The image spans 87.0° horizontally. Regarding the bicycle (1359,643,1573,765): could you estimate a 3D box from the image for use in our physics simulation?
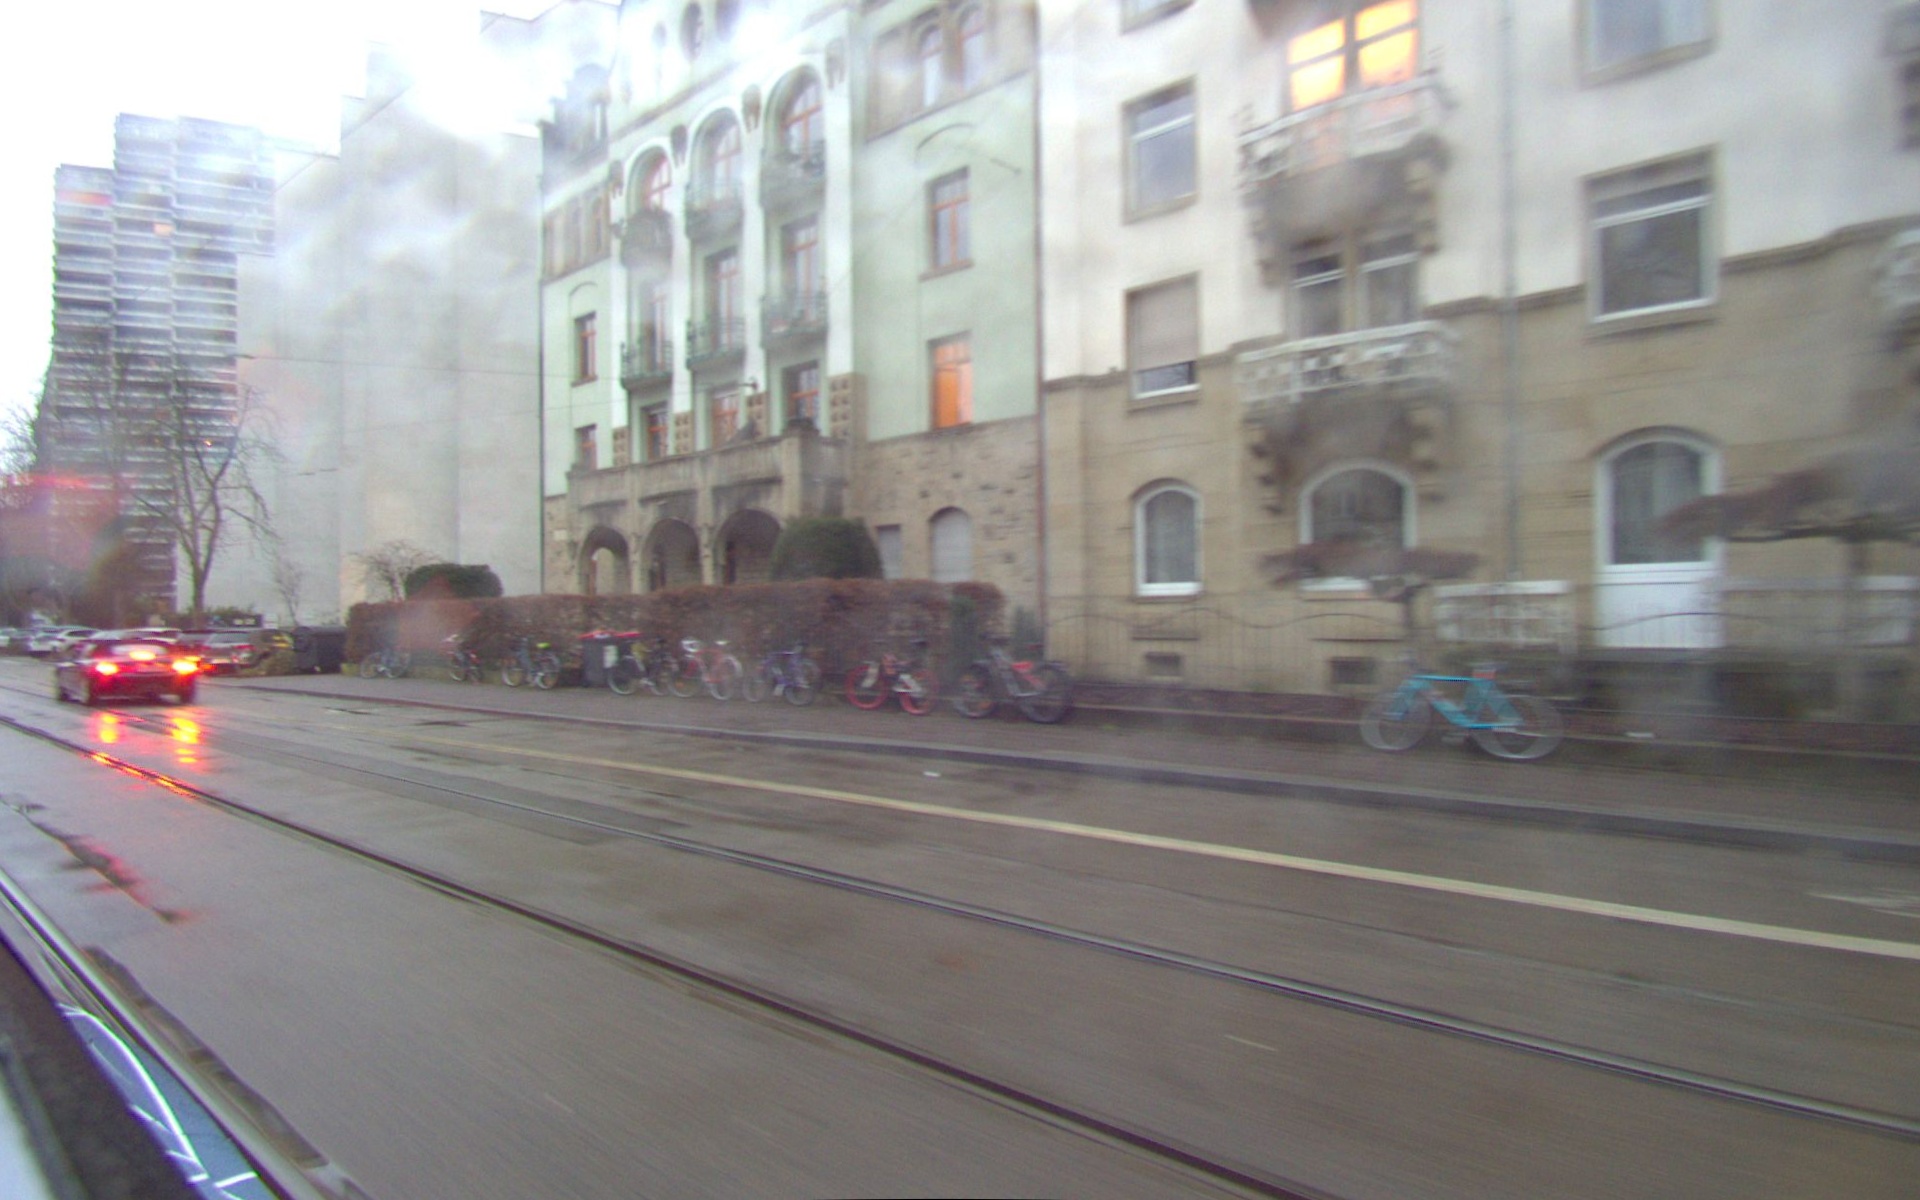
[{"bbox_3d":[4.671,0.919,9.420,1.662,1.010,0.617,-2,-2,42],"label":"bicycle"}]

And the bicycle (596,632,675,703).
[{"bbox_3d":[-5.890,1.195,18.308,1.662,1.221,0.617,-2,-2,42],"label":"bicycle"}]

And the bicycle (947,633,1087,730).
[{"bbox_3d":[0.700,1.002,12.895,1.783,1.134,0.617,-2,-2,42],"label":"bicycle"}]

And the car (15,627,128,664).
[{"bbox_3d":[-42.537,2.138,48.558,1.844,1.608,3.996,-1,-1,3],"label":"car"}]

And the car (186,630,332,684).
[{"bbox_3d":[-21.930,1.746,31.858,1.741,1.497,3.996,-1,-1,3],"label":"car"}]

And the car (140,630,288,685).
[{"bbox_3d":[-24.457,1.836,33.387,1.844,1.608,3.996,-1,-1,3],"label":"car"}]

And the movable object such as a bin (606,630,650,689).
[{"bbox_3d":[-6.874,1.220,20.951,0.674,1.173,0.617,-2,-2,42],"label":"movable object such as a bin"}]

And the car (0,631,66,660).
[{"bbox_3d":[-57.382,2.781,61.903,1.844,1.608,3.996,-1,-1,3],"label":"car"}]

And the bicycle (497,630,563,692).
[{"bbox_3d":[-8.898,1.247,20.922,1.662,1.221,0.617,-2,-2,42],"label":"bicycle"}]

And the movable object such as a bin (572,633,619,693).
[{"bbox_3d":[-7.370,1.261,20.483,0.674,1.173,0.651,-2,-2,42],"label":"movable object such as a bin"}]

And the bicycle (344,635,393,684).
[{"bbox_3d":[-15.044,1.498,25.721,1.662,1.173,0.617,-2,-1,42],"label":"bicycle"}]

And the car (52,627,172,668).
[{"bbox_3d":[-37.323,2.059,44.675,1.844,1.608,3.996,-1,-1,3],"label":"car"}]

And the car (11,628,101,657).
[{"bbox_3d":[-54.691,2.550,61.317,1.844,1.608,3.996,-1,-1,3],"label":"car"}]

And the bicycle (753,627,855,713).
[{"bbox_3d":[-2.389,1.033,15.356,1.662,1.221,0.617,-2,-2,42],"label":"bicycle"}]

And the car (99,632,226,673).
[{"bbox_3d":[-31.954,2.074,40.696,1.844,1.460,3.996,-1,-1,3],"label":"car"}]

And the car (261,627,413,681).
[{"bbox_3d":[-19.293,1.642,31.551,1.849,1.505,3.986,-1,-1,11],"label":"car"}]

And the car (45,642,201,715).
[{"bbox_3d":[-16.397,1.465,19.778,3.663,1.262,1.689,-2,-2,40],"label":"car"}]

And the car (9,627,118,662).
[{"bbox_3d":[-44.709,2.184,50.566,1.844,1.608,3.996,-1,-1,3],"label":"car"}]

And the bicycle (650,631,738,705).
[{"bbox_3d":[-4.487,1.112,17.024,1.662,1.173,0.617,-2,-2,42],"label":"bicycle"}]

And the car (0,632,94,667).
[{"bbox_3d":[-47.266,2.516,52.084,1.844,1.608,3.996,-1,-1,3],"label":"car"}]

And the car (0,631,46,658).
[{"bbox_3d":[-59.309,2.778,62.590,1.844,1.608,3.996,-1,-1,3],"label":"car"}]

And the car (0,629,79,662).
[{"bbox_3d":[-49.371,2.412,53.588,1.844,1.608,3.996,-1,-1,3],"label":"car"}]

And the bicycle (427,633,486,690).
[{"bbox_3d":[-11.272,1.355,22.632,1.662,1.221,0.617,-2,-2,42],"label":"bicycle"}]

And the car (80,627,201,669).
[{"bbox_3d":[-34.962,2.017,43.325,1.844,1.608,3.996,-1,-1,3],"label":"car"}]

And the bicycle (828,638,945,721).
[{"bbox_3d":[-1.054,1.083,14.204,1.726,1.073,0.617,-2,-2,42],"label":"bicycle"}]
